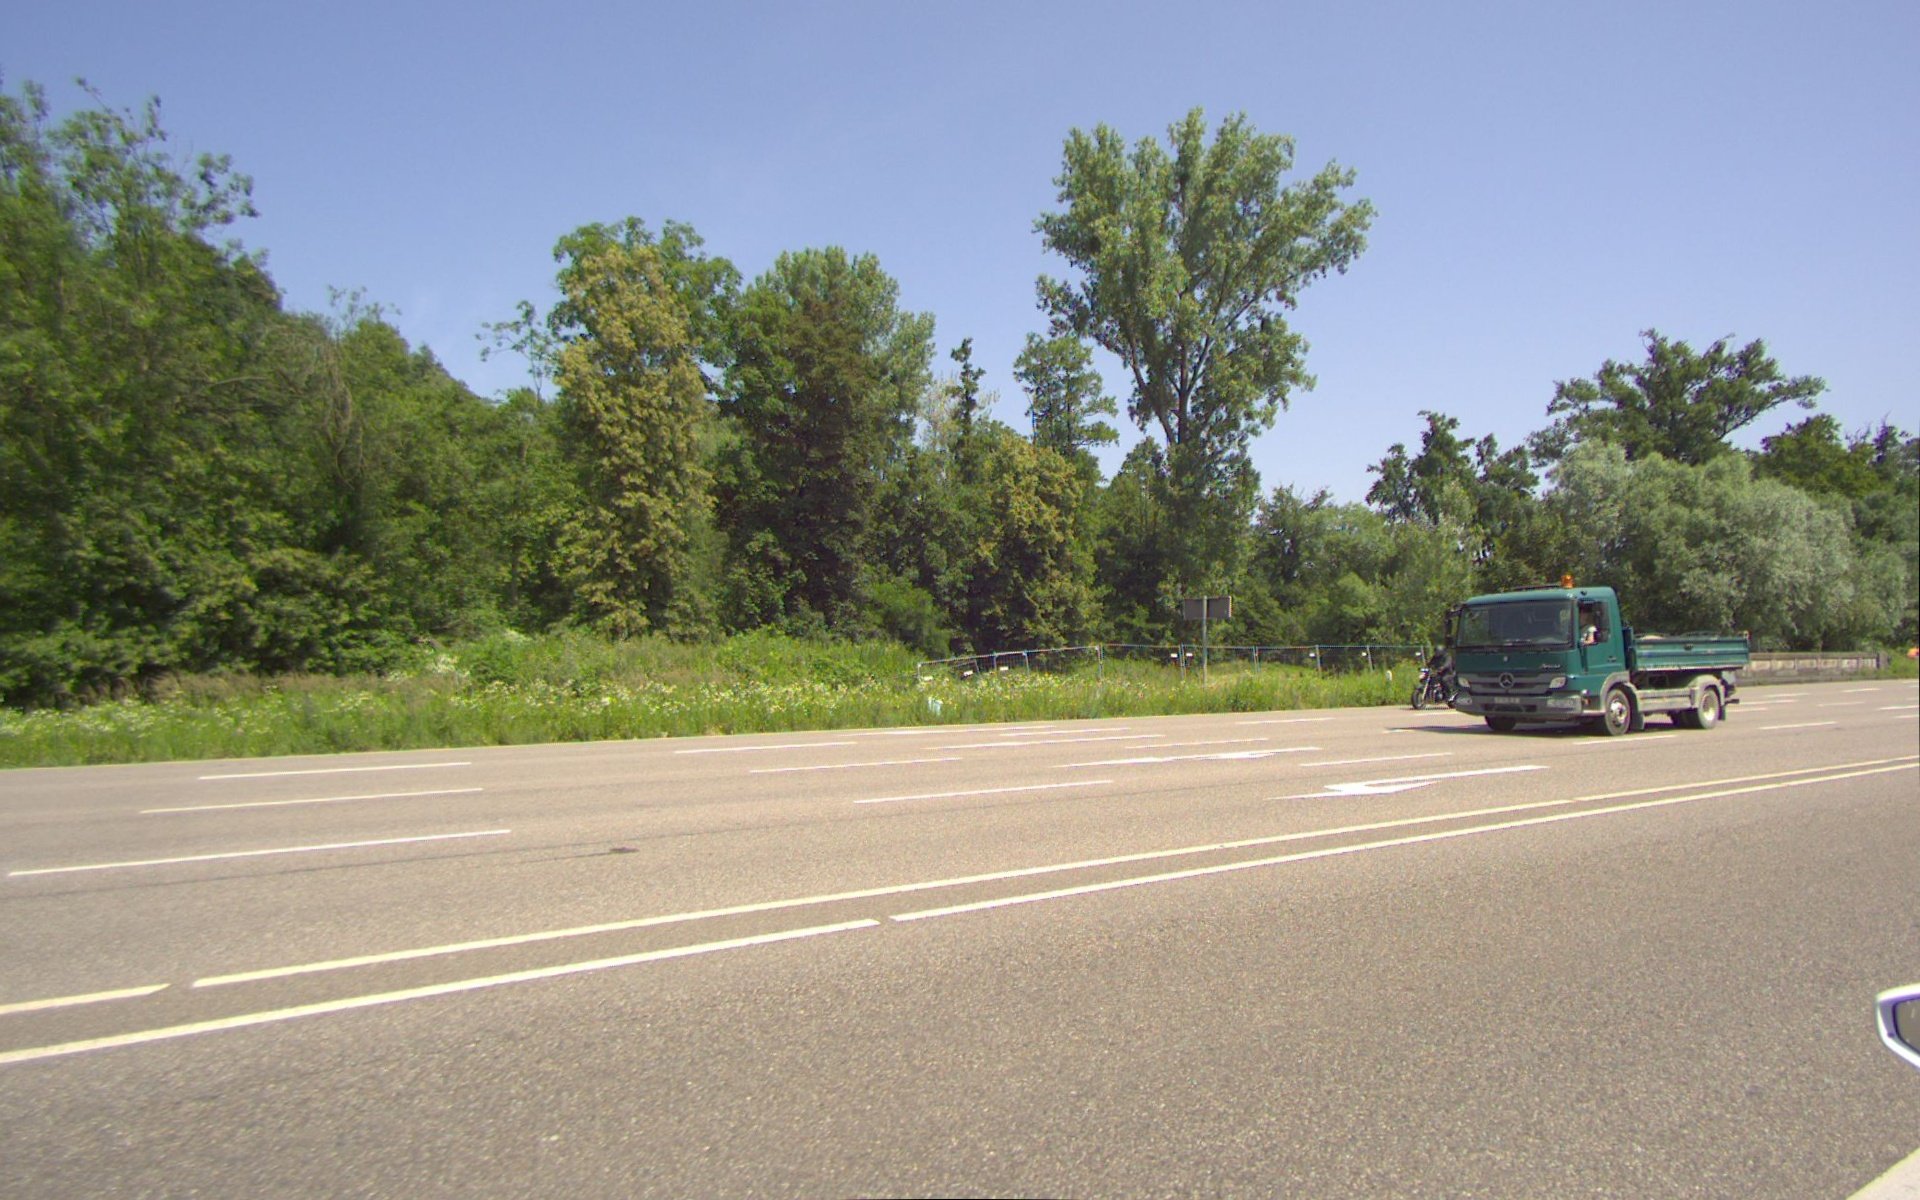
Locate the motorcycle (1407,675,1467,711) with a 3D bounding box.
[{"bbox_3d":[12.769,2.484,26.855,1.889,0.904,0.514,2,-3,-32],"label":"motorcycle"}]

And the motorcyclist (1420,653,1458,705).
[{"bbox_3d":[12.835,2.100,26.913,0.746,1.371,0.574,2,-3,-32],"label":"motorcyclist"}]

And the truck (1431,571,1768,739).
[{"bbox_3d":[11.960,1.012,18.679,6.412,2.690,2.445,1,-5,-29],"label":"truck"}]

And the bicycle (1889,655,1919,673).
[{"bbox_3d":[54.337,3.678,57.694,1.773,1.018,0.675,0,-3,-20],"label":"bicycle"}]

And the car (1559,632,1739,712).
[{"bbox_3d":[18.562,1.902,27.031,4.761,1.991,1.986,1,-4,-29],"label":"car"}]

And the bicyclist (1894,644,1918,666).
[{"bbox_3d":[54.359,3.158,57.734,0.583,1.211,0.757,0,-3,-19],"label":"bicyclist"}]
